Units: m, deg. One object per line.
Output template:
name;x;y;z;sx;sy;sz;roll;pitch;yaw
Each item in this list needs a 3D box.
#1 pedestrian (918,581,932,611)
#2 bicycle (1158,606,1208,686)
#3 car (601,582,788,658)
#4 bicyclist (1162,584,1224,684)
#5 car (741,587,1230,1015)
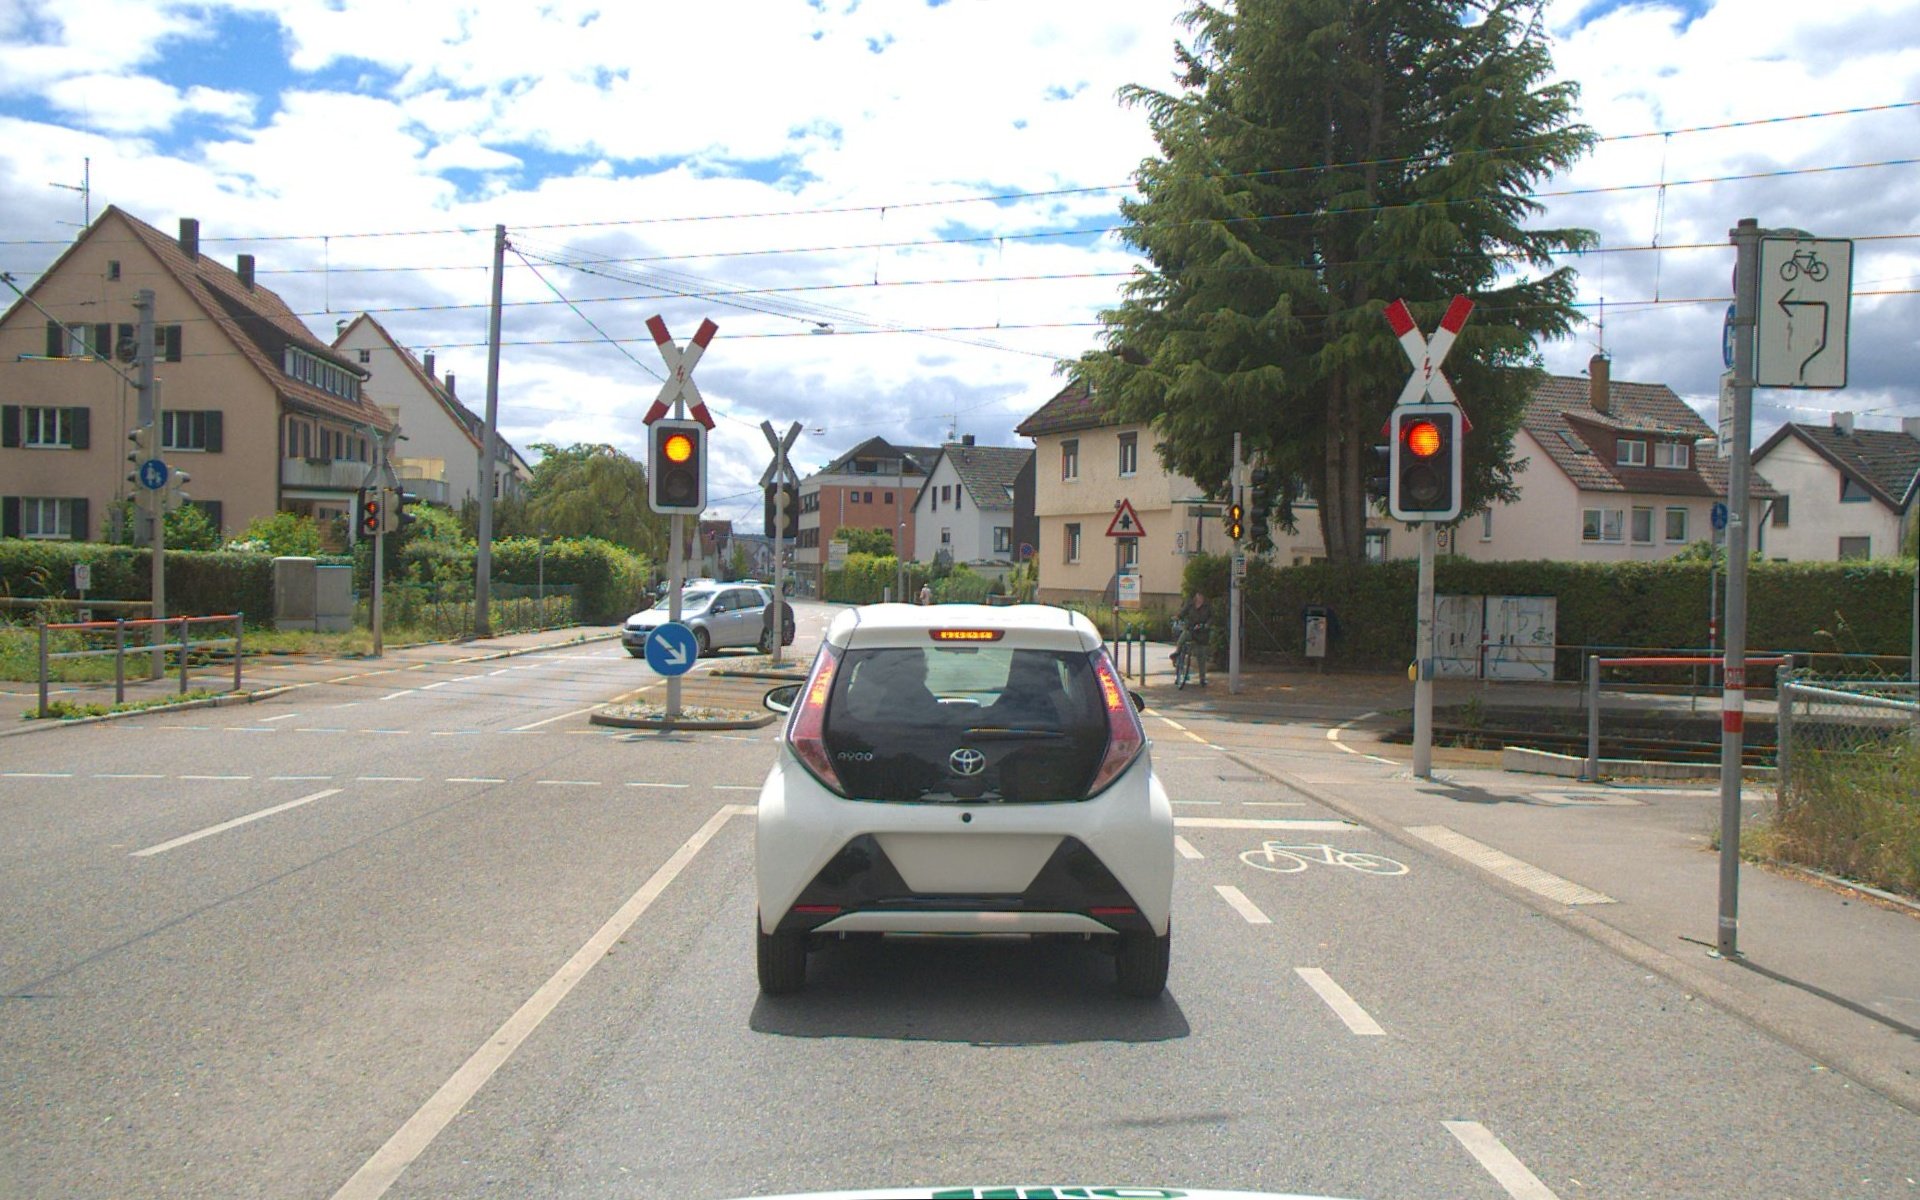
pedestrian;-1.889;-0.214;90.408;0.711;1.604;0.803;2;0;-1
bicycle;3.679;0.750;27.375;0.448;1.192;1.477;-2;3;-6
car;-5.611;0.421;35.392;1.868;1.466;4.093;2;0;27
bicyclist;3.835;0.551;27.280;0.825;1.580;0.755;-2;3;-7
car;-0.032;0.705;7.667;1.687;1.467;3.705;2;0;-4
